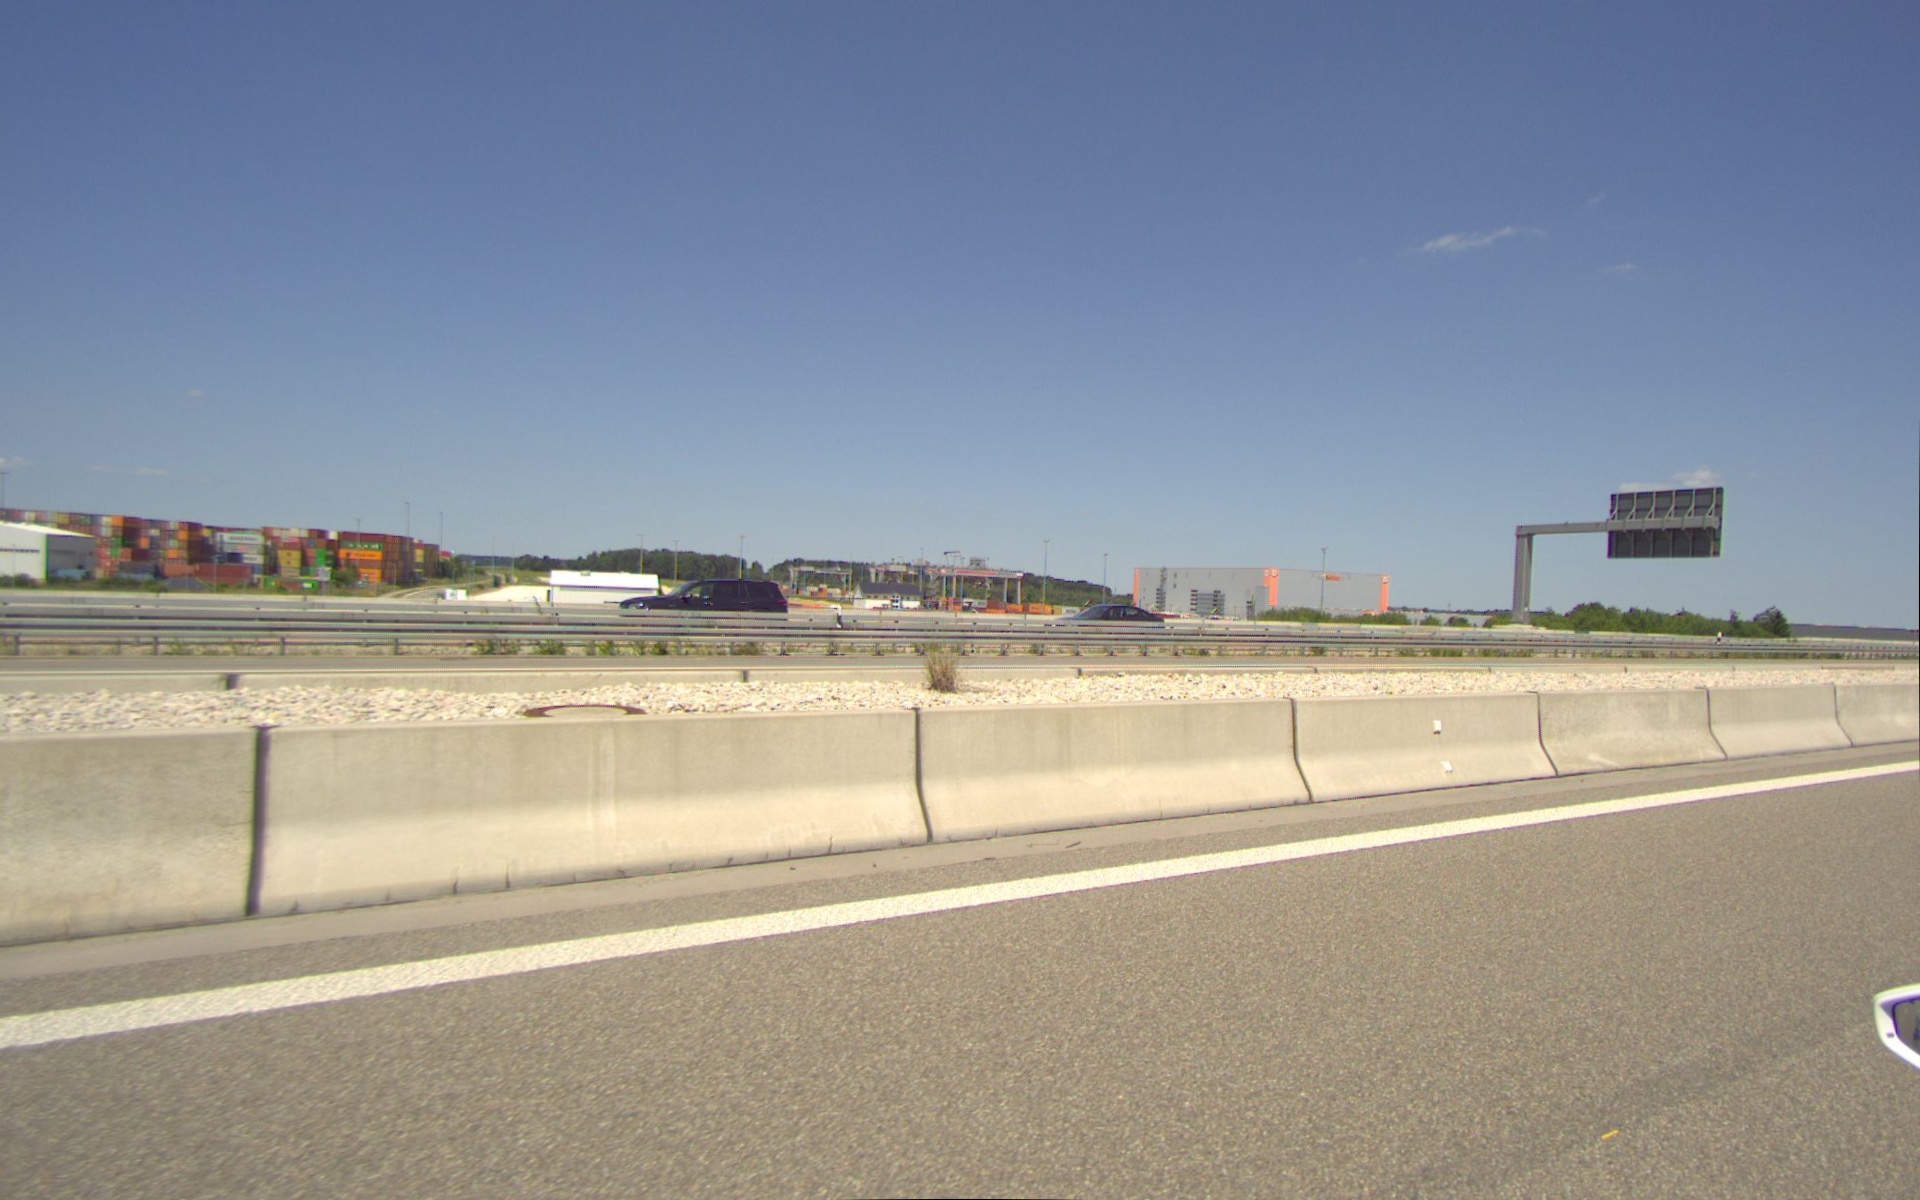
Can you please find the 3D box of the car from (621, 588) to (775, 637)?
[{"bbox_3d":[-8.153,0.383,31.342,4.307,1.398,1.986,2,0,-28],"label":"car"}]
